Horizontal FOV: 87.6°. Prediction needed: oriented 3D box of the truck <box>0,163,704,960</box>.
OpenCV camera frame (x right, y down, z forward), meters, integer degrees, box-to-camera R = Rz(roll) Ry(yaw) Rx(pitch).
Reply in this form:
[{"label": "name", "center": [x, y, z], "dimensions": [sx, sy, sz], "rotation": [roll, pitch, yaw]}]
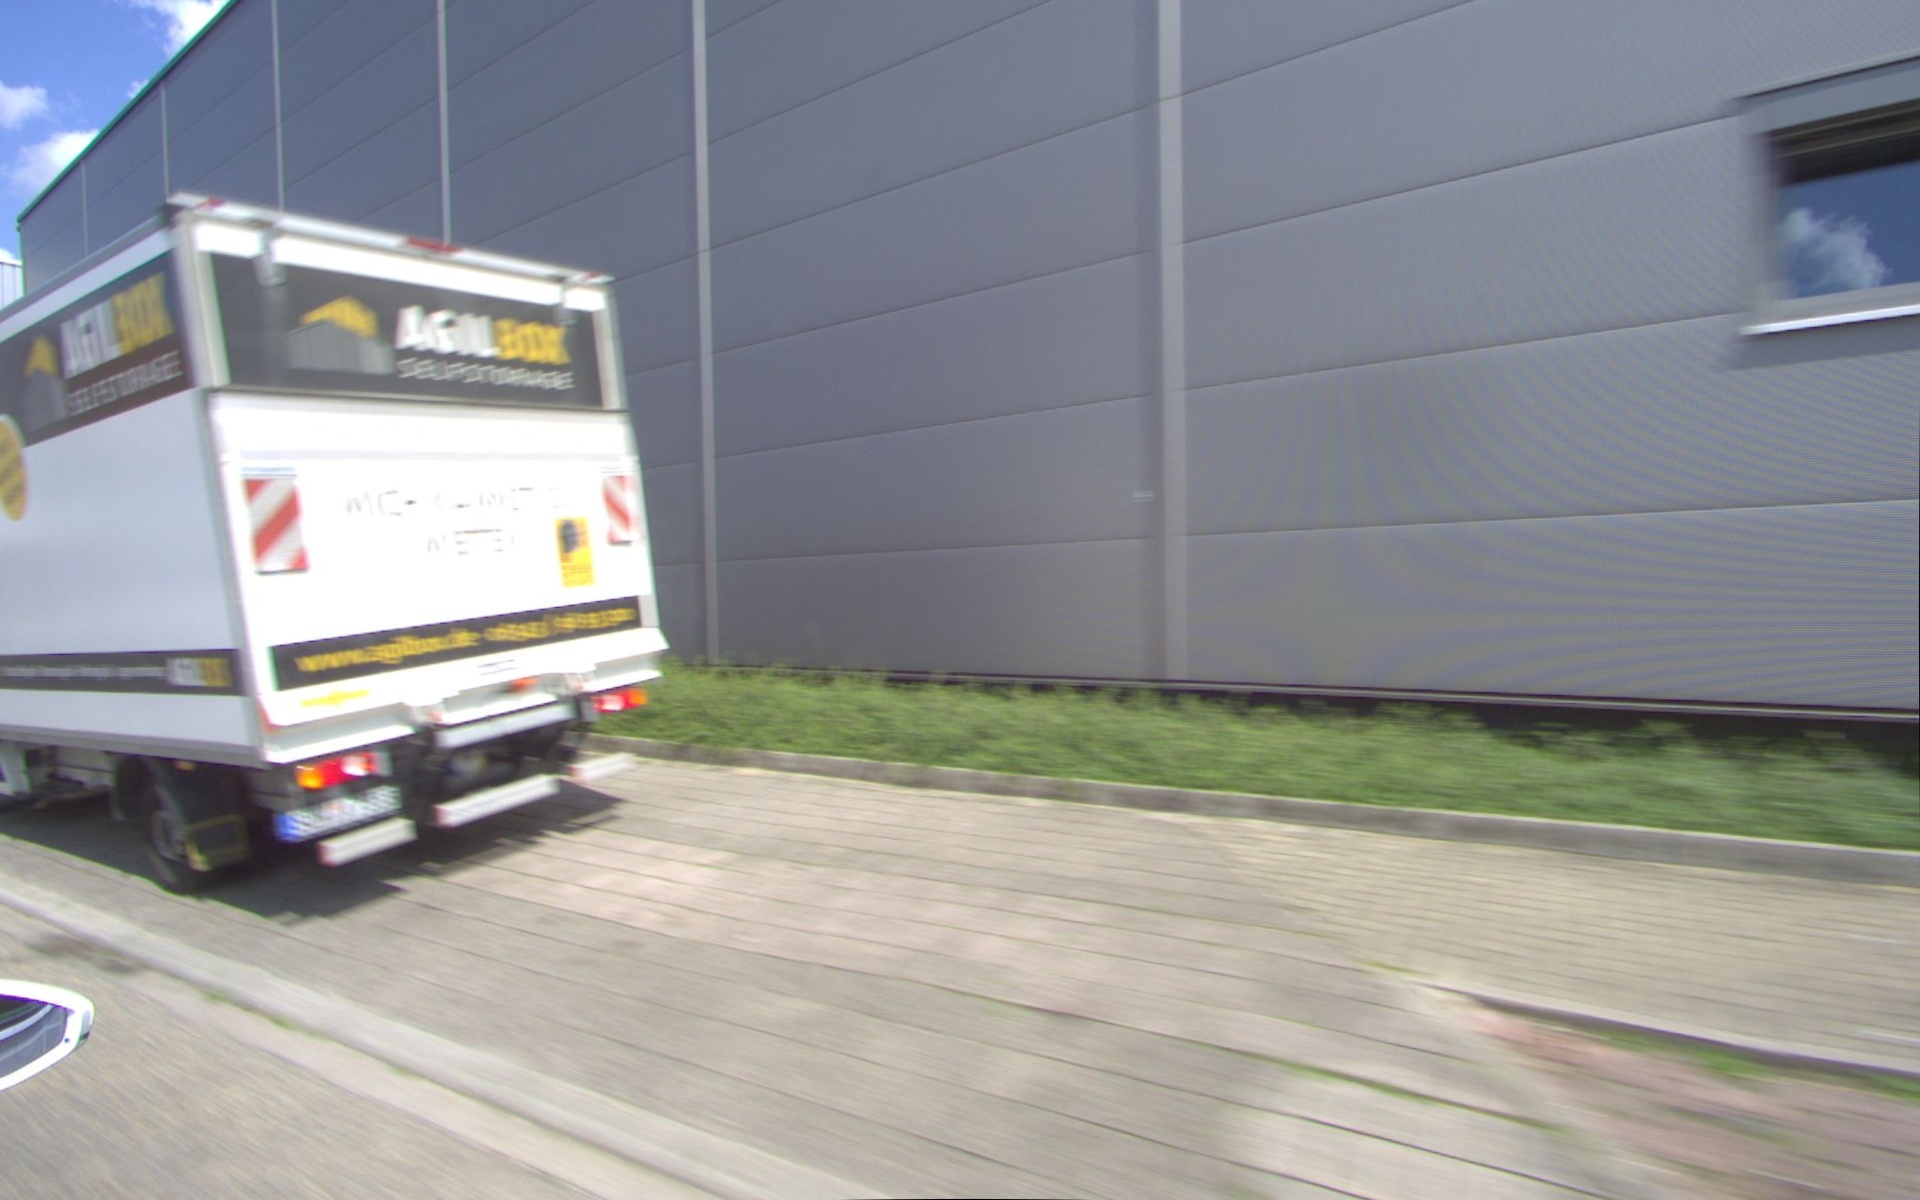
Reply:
[{"label": "truck", "center": [-5.197, -0.158, 7.051], "dimensions": [6.721, 3.340, 2.450], "rotation": [-1, 5, 33]}]
